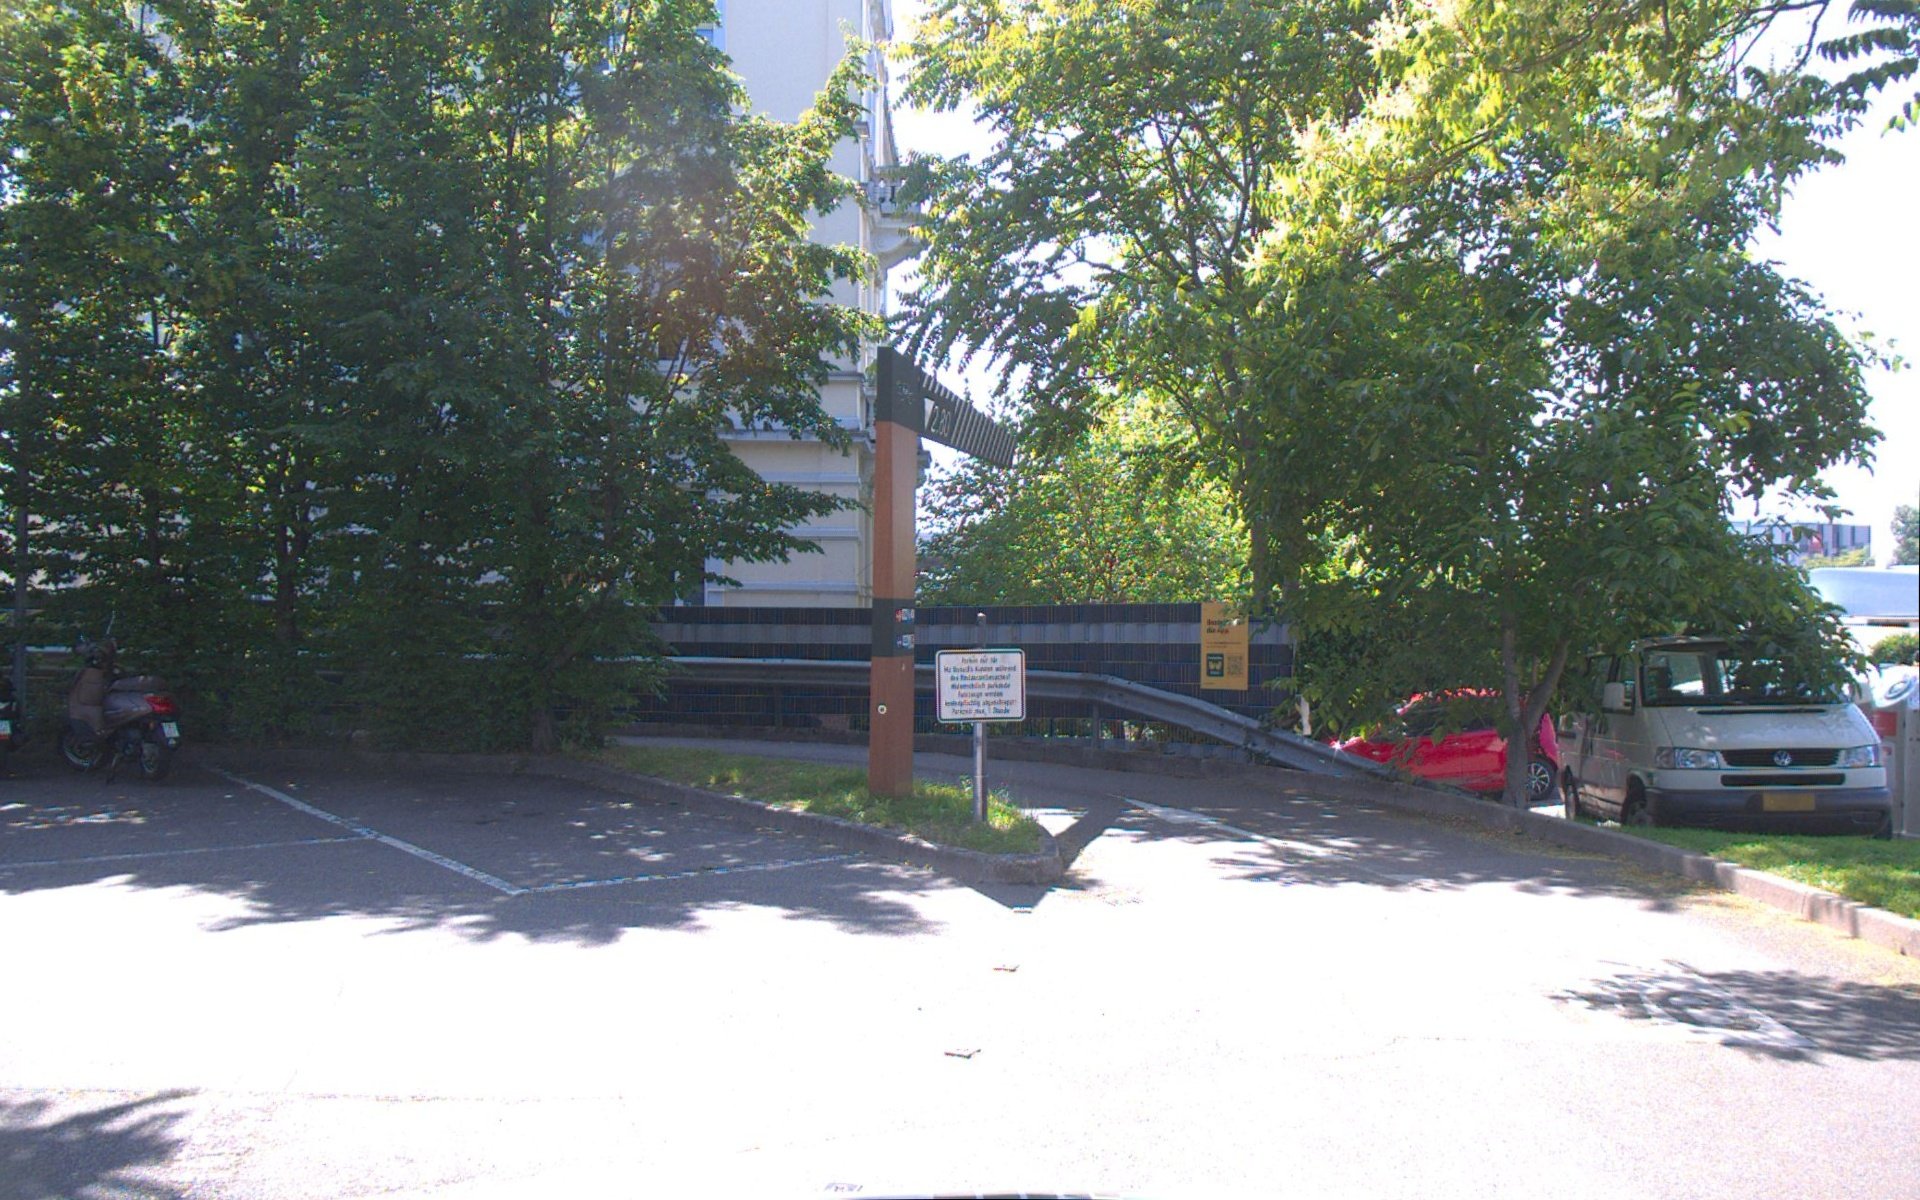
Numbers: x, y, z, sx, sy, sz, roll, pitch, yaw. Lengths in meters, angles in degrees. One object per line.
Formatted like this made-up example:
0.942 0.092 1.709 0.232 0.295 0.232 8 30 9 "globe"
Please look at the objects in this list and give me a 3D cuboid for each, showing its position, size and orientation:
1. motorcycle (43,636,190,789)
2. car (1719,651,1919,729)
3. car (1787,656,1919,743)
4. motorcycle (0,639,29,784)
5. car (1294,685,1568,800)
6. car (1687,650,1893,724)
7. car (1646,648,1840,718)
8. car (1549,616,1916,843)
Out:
-7.082 0.908 13.867 1.577 1.189 0.567 0 -1 42 "motorcycle"
21.767 2.245 41.487 4.549 1.756 1.997 2 -1 -6 "car"
20.500 2.175 36.104 3.905 1.736 2.000 2 -1 1 "car"
-8.421 0.933 14.234 0.470 1.161 1.583 1 0 -38 "motorcycle"
6.329 1.907 22.464 3.332 1.403 1.487 0 1 3 "car"
22.122 2.296 44.152 4.549 1.756 1.997 2 -1 -6 "car"
22.016 2.329 46.576 4.549 1.756 1.997 2 -1 -6 "car"
6.670 0.989 14.919 1.910 1.611 5.035 1 0 12 "car"
